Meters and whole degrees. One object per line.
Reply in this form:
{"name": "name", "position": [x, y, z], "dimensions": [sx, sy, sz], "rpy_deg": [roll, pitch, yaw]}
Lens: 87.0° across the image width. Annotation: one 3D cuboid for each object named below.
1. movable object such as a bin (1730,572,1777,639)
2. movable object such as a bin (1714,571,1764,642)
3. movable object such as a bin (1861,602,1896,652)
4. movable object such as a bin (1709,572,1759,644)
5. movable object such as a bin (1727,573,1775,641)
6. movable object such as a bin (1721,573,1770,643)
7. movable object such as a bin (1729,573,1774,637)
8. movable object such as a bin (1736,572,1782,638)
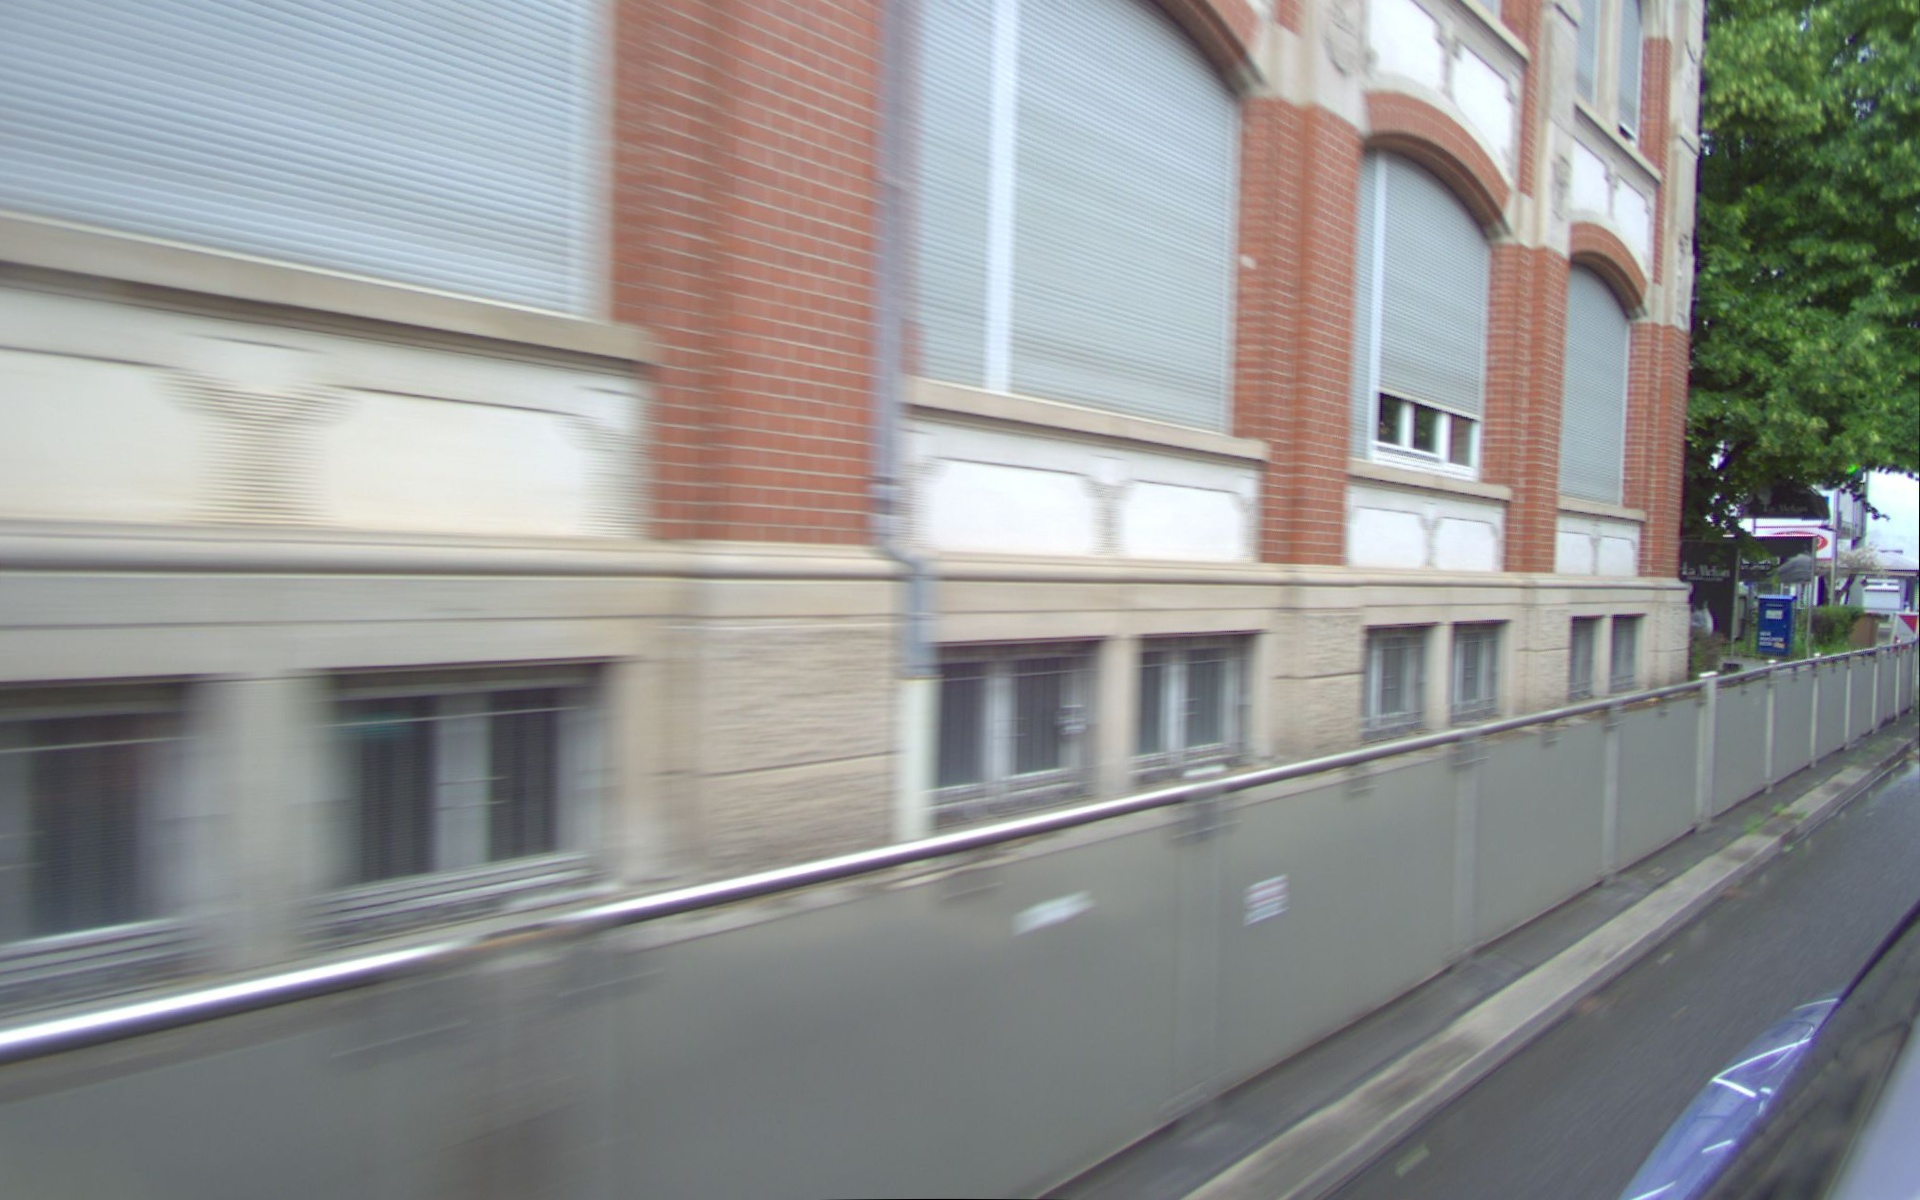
{"name": "movable object such as a bin", "position": [18.680, 0.128, 23.813], "dimensions": [0.615, 1.527, 0.738], "rpy_deg": [0, 2, -43]}
{"name": "movable object such as a bin", "position": [17.316, 0.134, 22.492], "dimensions": [0.615, 1.527, 0.738], "rpy_deg": [0, 2, -43]}
{"name": "movable object such as a bin", "position": [21.630, 0.636, 23.824], "dimensions": [0.607, 1.129, 0.506], "rpy_deg": [0, 2, -40]}
{"name": "movable object such as a bin", "position": [16.831, 0.160, 22.008], "dimensions": [0.615, 1.519, 0.738], "rpy_deg": [0, 2, -43]}
{"name": "movable object such as a bin", "position": [18.237, 0.146, 23.331], "dimensions": [0.615, 1.527, 0.738], "rpy_deg": [0, 2, -43]}
{"name": "movable object such as a bin", "position": [17.760, 0.162, 22.890], "dimensions": [0.615, 1.527, 0.738], "rpy_deg": [0, 2, -43]}
{"name": "movable object such as a bin", "position": [19.494, 0.105, 24.919], "dimensions": [0.615, 1.527, 0.738], "rpy_deg": [0, 2, -43]}
{"name": "movable object such as a bin", "position": [19.180, 0.114, 24.309], "dimensions": [0.615, 1.527, 0.738], "rpy_deg": [0, 2, -43]}
